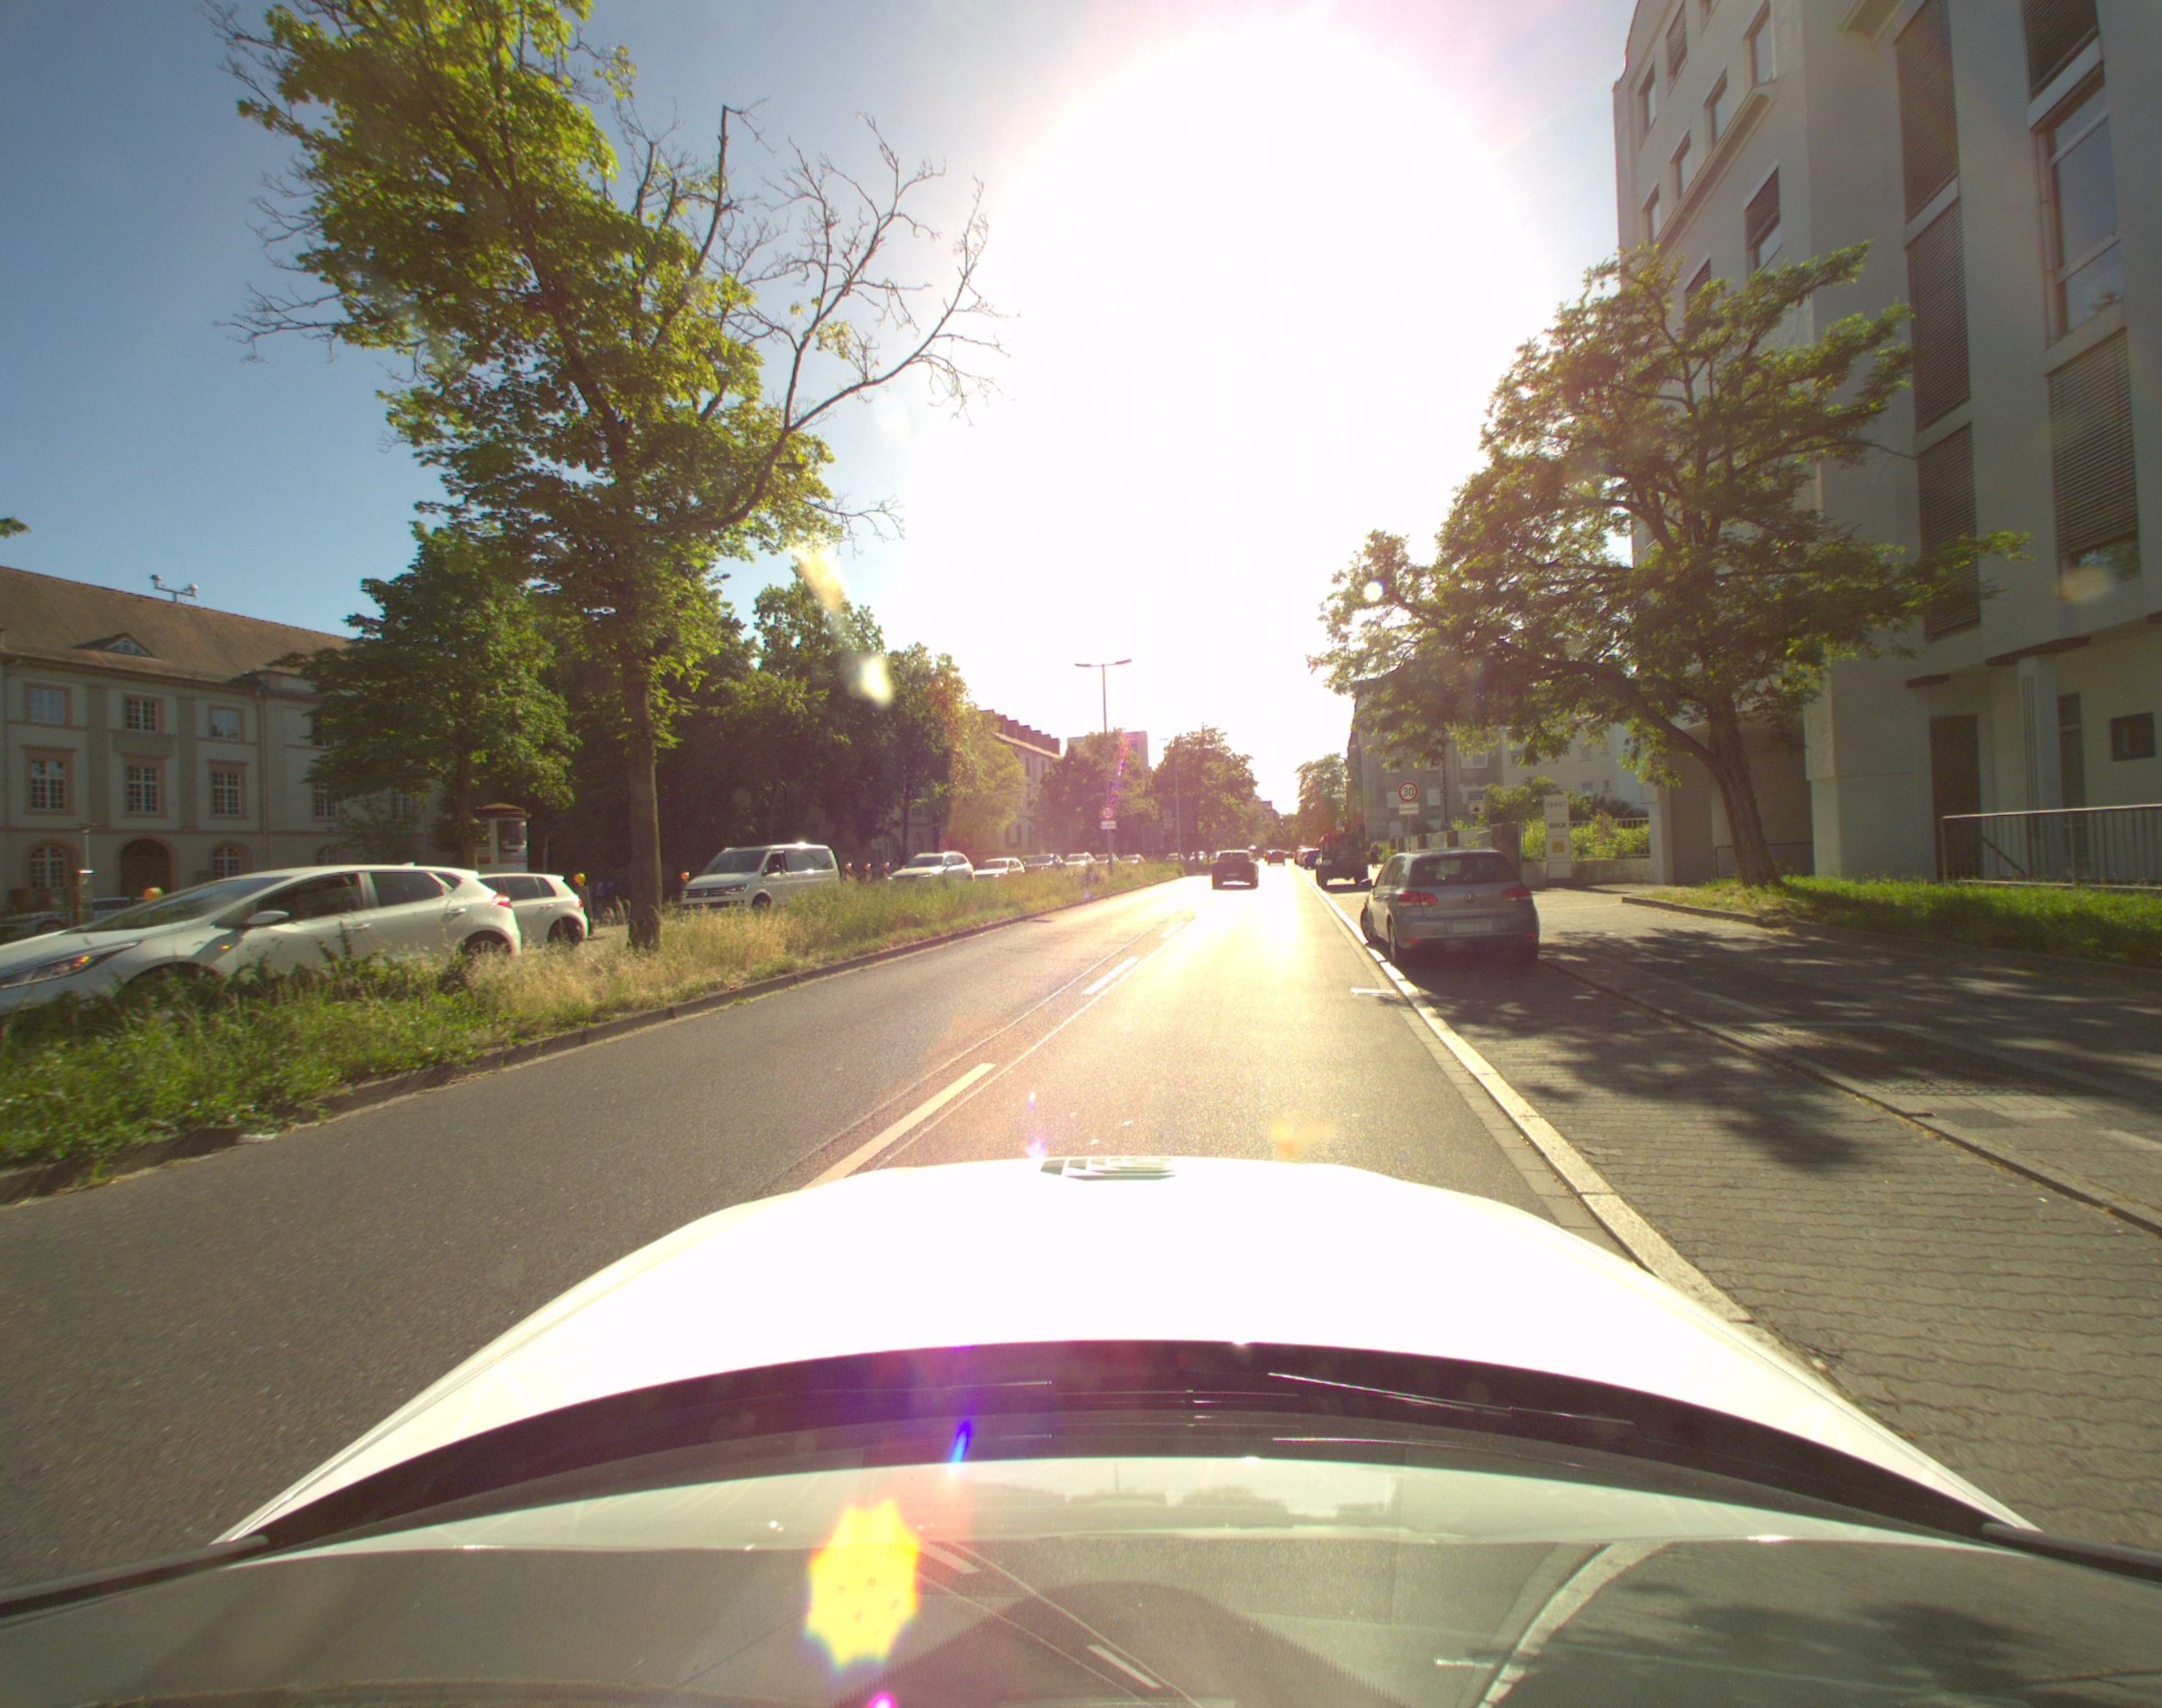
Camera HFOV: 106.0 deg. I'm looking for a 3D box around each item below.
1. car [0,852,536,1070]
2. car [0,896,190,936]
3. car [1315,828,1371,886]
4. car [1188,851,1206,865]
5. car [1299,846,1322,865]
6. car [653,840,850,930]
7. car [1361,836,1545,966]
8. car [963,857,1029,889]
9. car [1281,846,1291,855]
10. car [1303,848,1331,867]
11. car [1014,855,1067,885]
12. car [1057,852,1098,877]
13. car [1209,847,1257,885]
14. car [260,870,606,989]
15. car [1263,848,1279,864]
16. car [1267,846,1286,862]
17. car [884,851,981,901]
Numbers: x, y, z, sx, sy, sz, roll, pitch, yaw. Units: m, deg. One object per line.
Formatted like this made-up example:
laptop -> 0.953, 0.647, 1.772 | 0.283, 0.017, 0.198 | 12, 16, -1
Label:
car -> -7.957, 0.779, 7.971 | 1.783, 1.519, 4.220 | -2, 0, 13
car -> -39.532, 2.447, 32.739 | 1.630, 1.492, 4.702 | -1, -3, 14
car -> 10.171, 0.113, 31.903 | 1.648, 2.014, 4.794 | -3, -1, 14
car -> 15.128, 0.475, 106.243 | 1.887, 1.626, 4.553 | -3, -1, 13
car -> 20.040, 0.081, 71.246 | 1.597, 1.446, 3.672 | -6, -1, 13
car -> -8.346, 0.718, 21.286 | 2.218, 2.028, 5.035 | -2, 0, 13
car -> 5.131, 0.539, 11.774 | 1.626, 1.448, 4.172 | -3, 1, 14
car -> -3.962, 0.885, 38.680 | 1.783, 1.351, 4.273 | -2, 0, 13
car -> 40.020, -0.772, 158.949 | 1.907, 1.640, 4.015 | -3, 0, 13
car -> 17.824, 0.245, 61.618 | 1.657, 1.182, 3.914 | -6, -1, 12
car -> -2.220, 0.878, 45.998 | 1.783, 1.519, 4.460 | -2, 0, 13
car -> -0.190, 0.648, 54.168 | 1.783, 1.519, 4.273 | -2, 0, 13
car -> 6.483, 0.460, 34.570 | 1.882, 1.519, 4.013 | 0, 0, 11
car -> -10.077, 1.087, 13.144 | 1.783, 1.519, 4.094 | -2, 0, 13
car -> 24.855, 0.255, 106.774 | 1.947, 1.882, 4.014 | -2, 0, 13
car -> 19.111, -0.016, 79.660 | 1.779, 1.520, 3.864 | -1, 1, 14
car -> -5.618, 0.775, 31.574 | 1.783, 1.743, 5.050 | -2, 0, 13
